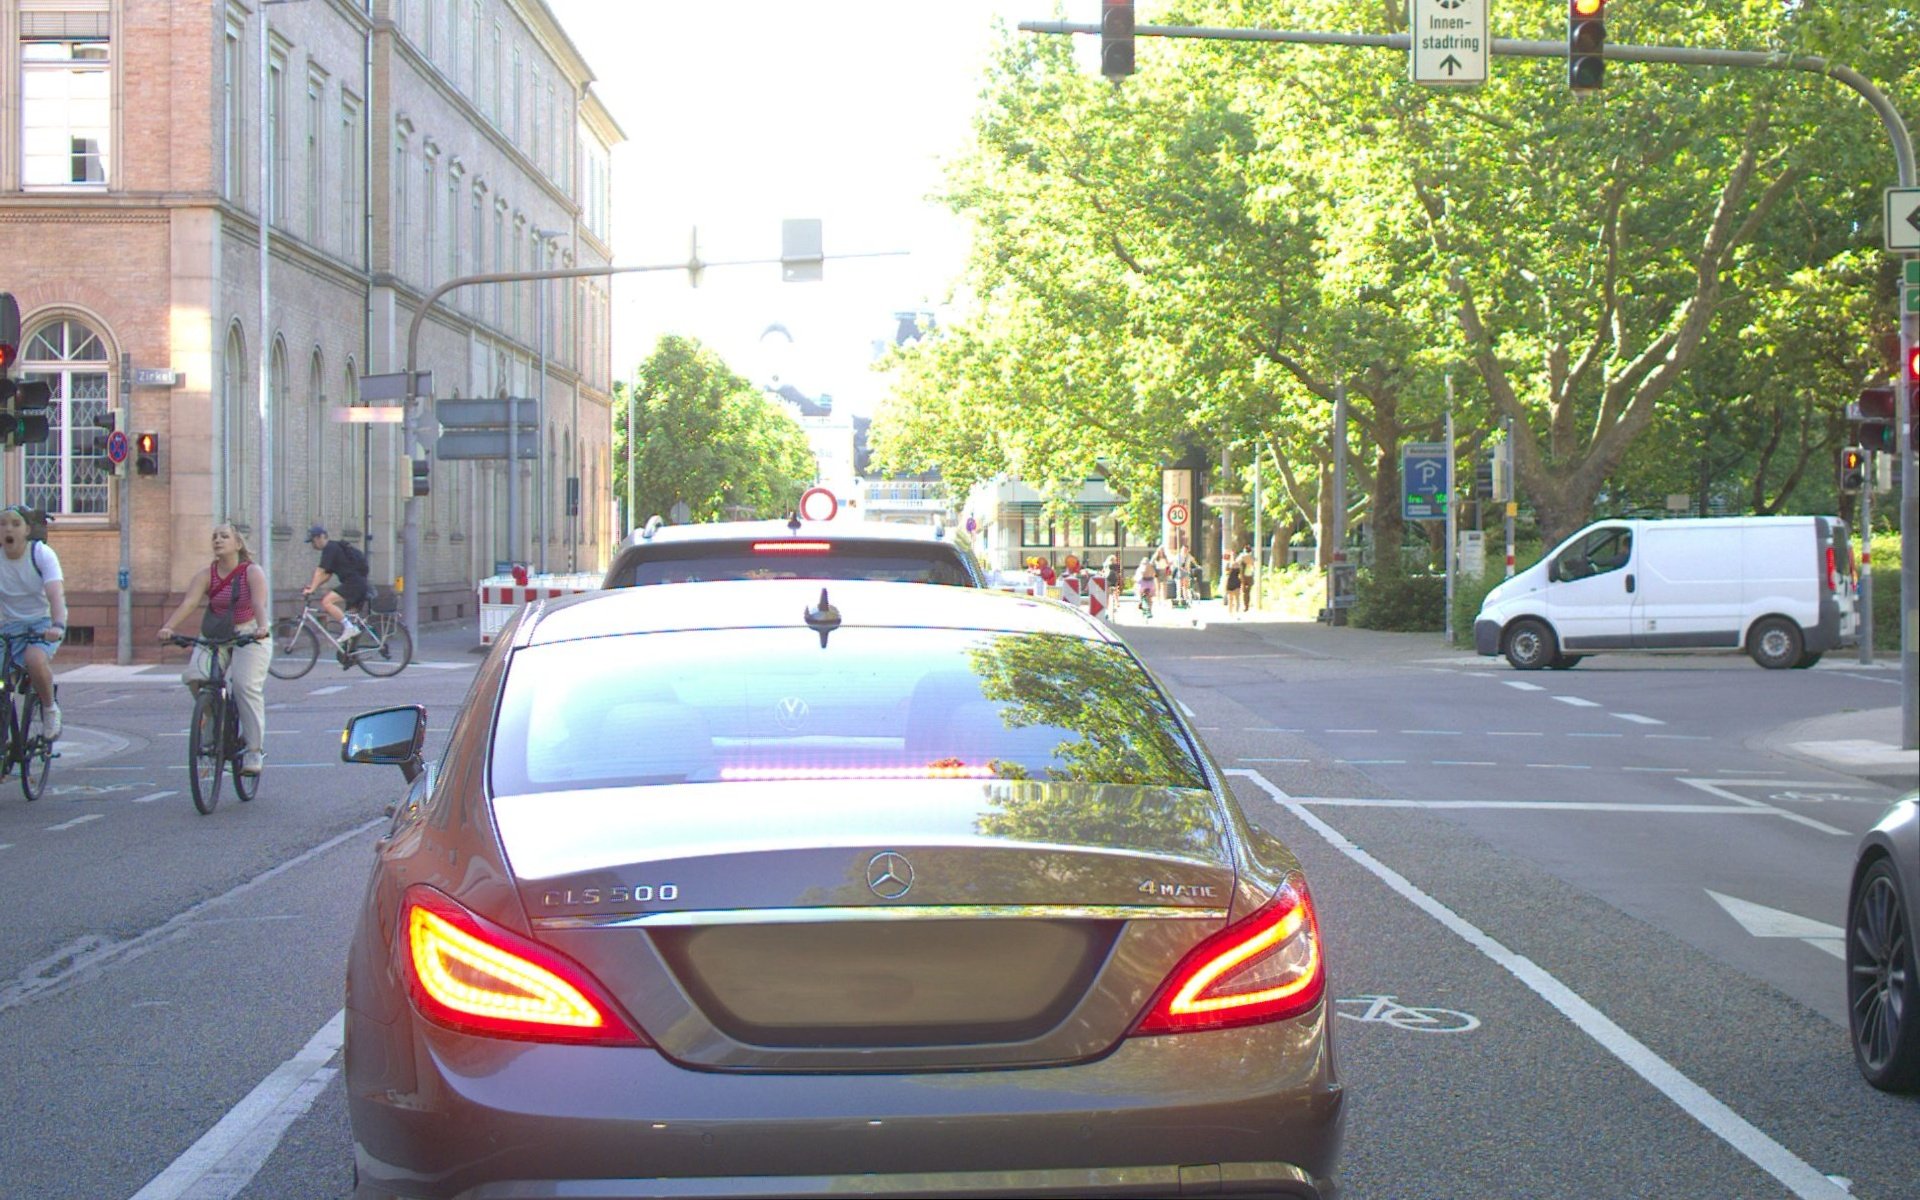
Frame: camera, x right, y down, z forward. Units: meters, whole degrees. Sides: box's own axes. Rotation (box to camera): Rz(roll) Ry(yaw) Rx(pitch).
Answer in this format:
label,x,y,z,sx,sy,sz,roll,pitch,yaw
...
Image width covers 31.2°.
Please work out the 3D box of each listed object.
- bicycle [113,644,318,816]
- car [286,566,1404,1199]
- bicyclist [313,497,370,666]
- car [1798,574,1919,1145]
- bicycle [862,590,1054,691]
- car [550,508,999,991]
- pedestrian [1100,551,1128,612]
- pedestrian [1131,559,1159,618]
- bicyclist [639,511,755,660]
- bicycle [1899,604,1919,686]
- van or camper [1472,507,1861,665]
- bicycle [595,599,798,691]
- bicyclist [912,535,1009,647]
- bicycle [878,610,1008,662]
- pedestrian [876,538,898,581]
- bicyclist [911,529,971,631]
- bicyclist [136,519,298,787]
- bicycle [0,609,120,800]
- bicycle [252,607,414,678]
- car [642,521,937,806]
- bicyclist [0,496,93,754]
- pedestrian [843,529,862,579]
label,x,y,z,sx,sy,sz,roll,pitch,yaw
bicycle,-4.462,0.760,20.725,0.693,0.926,1.863,0,1,5
car,-0.454,0.658,7.677,1.803,1.451,4.351,0,0,-8
bicyclist,-7.406,-0.228,41.149,0.652,2.007,0.440,0,1,-8
car,3.455,0.716,7.730,1.913,1.459,4.669,1,1,-1
bicycle,-0.017,0.418,35.873,1.980,1.024,0.651,0,1,2
car,-0.723,0.482,13.710,1.517,1.641,3.881,1,1,-3
pedestrian,3.770,-0.461,84.415,0.648,1.498,0.637,0,1,-1
pedestrian,4.527,-0.293,84.083,0.648,1.428,0.659,0,1,-1
bicyclist,-2.648,-0.154,34.676,1.116,1.485,0.712,0,1,-1
bicycle,11.353,0.494,37.755,1.893,0.879,0.725,0,1,4
van or camper,9.009,-0.208,43.819,4.584,1.935,1.998,1,1,21
bicycle,-2.645,0.452,34.669,1.986,0.900,0.734,0,1,0
bicyclist,0.009,-0.097,35.861,0.991,1.150,0.620,0,1,2
bicycle,-0.206,0.441,42.547,1.587,0.632,0.496,0,1,3
pedestrian,-2.676,-1.486,125.722,0.801,1.571,0.845,0,1,-1
bicyclist,-0.230,-0.247,42.530,0.704,1.256,0.457,0,1,4
bicyclist,-4.464,0.302,20.694,0.685,1.572,0.982,0,1,6
bicycle,-5.881,0.615,21.110,0.863,1.075,1.836,0,1,5
bicycle,-7.499,0.507,41.139,1.891,0.834,0.458,0,1,-8
car,-1.078,0.361,23.251,1.820,1.756,4.000,0,1,-1
bicyclist,-5.882,0.139,21.111,0.842,1.549,0.839,0,1,6
pedestrian,-4.122,-1.774,131.958,0.721,1.895,0.704,0,1,-1
